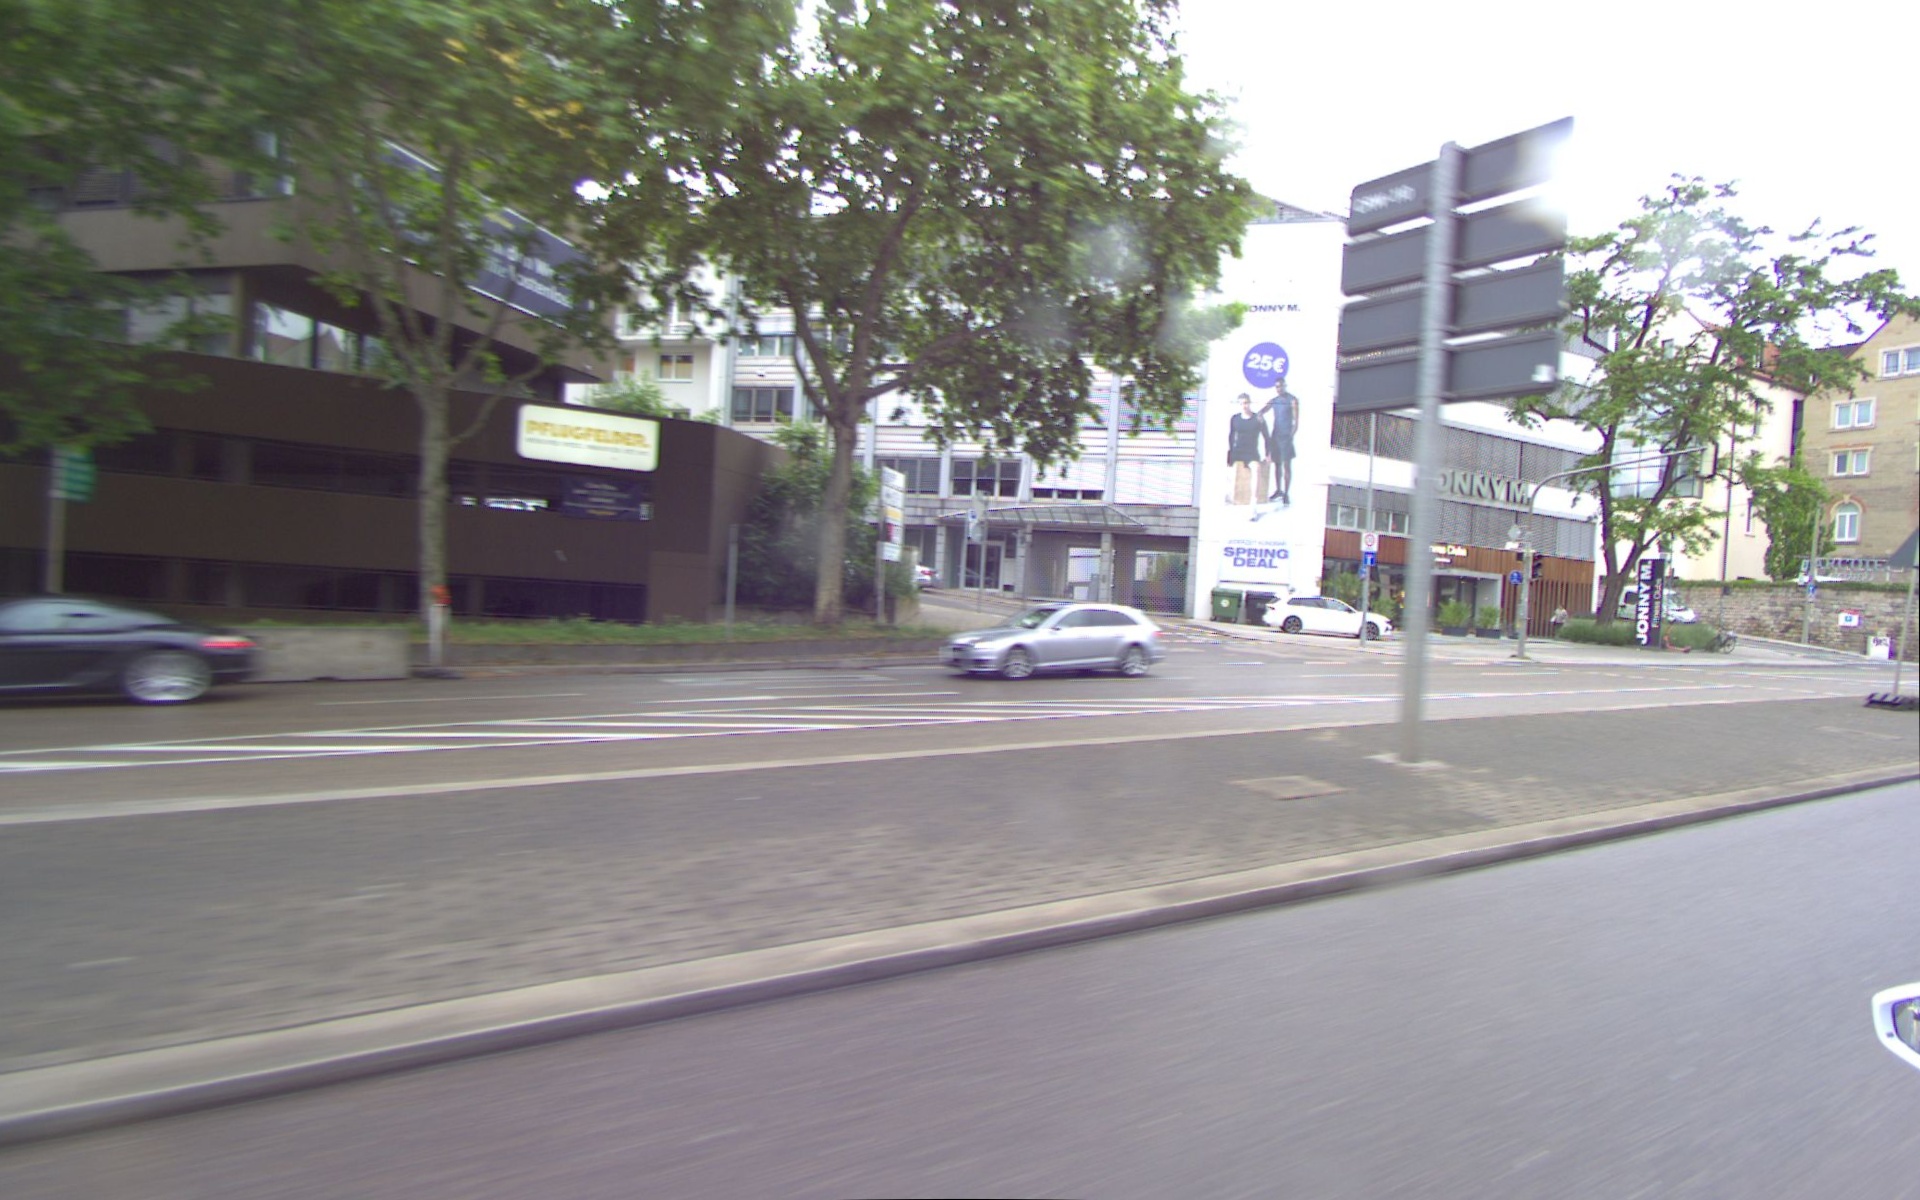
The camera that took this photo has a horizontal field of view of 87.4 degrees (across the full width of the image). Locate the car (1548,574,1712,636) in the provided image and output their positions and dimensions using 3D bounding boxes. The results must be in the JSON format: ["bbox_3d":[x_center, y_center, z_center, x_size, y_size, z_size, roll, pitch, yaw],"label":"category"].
[{"bbox_3d":[35.722,0.161,53.914,2.480,2.307,6.877,-1,8,-25],"label":"car"}]

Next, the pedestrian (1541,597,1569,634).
[{"bbox_3d":[27.105,0.718,45.744,0.831,1.663,0.765,1,0,-27],"label":"pedestrian"}]

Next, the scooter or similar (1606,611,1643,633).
[{"bbox_3d":[33.579,1.119,50.770,0.438,0.934,1.462,1,5,-28],"label":"scooter or similar"}]

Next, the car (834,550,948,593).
[{"bbox_3d":[-2.932,-1.216,43.144,4.397,1.485,2.001,5,2,14],"label":"car"}]

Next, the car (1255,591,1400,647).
[{"bbox_3d":[13.691,0.675,37.694,4.746,1.676,2.001,5,2,12],"label":"car"}]

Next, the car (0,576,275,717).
[{"bbox_3d":[-10.683,0.513,11.863,4.122,1.539,1.745,1,0,-31],"label":"car"}]

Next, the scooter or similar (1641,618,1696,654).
[{"bbox_3d":[28.914,1.457,41.012,1.726,1.263,0.369,6,3,34],"label":"scooter or similar"}]

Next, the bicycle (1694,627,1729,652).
[{"bbox_3d":[32.353,1.692,43.217,1.736,1.004,0.455,2,1,-27],"label":"bicycle"}]

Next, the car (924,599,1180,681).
[{"bbox_3d":[1.885,0.778,20.112,4.822,1.466,1.985,2,0,-29],"label":"car"}]
